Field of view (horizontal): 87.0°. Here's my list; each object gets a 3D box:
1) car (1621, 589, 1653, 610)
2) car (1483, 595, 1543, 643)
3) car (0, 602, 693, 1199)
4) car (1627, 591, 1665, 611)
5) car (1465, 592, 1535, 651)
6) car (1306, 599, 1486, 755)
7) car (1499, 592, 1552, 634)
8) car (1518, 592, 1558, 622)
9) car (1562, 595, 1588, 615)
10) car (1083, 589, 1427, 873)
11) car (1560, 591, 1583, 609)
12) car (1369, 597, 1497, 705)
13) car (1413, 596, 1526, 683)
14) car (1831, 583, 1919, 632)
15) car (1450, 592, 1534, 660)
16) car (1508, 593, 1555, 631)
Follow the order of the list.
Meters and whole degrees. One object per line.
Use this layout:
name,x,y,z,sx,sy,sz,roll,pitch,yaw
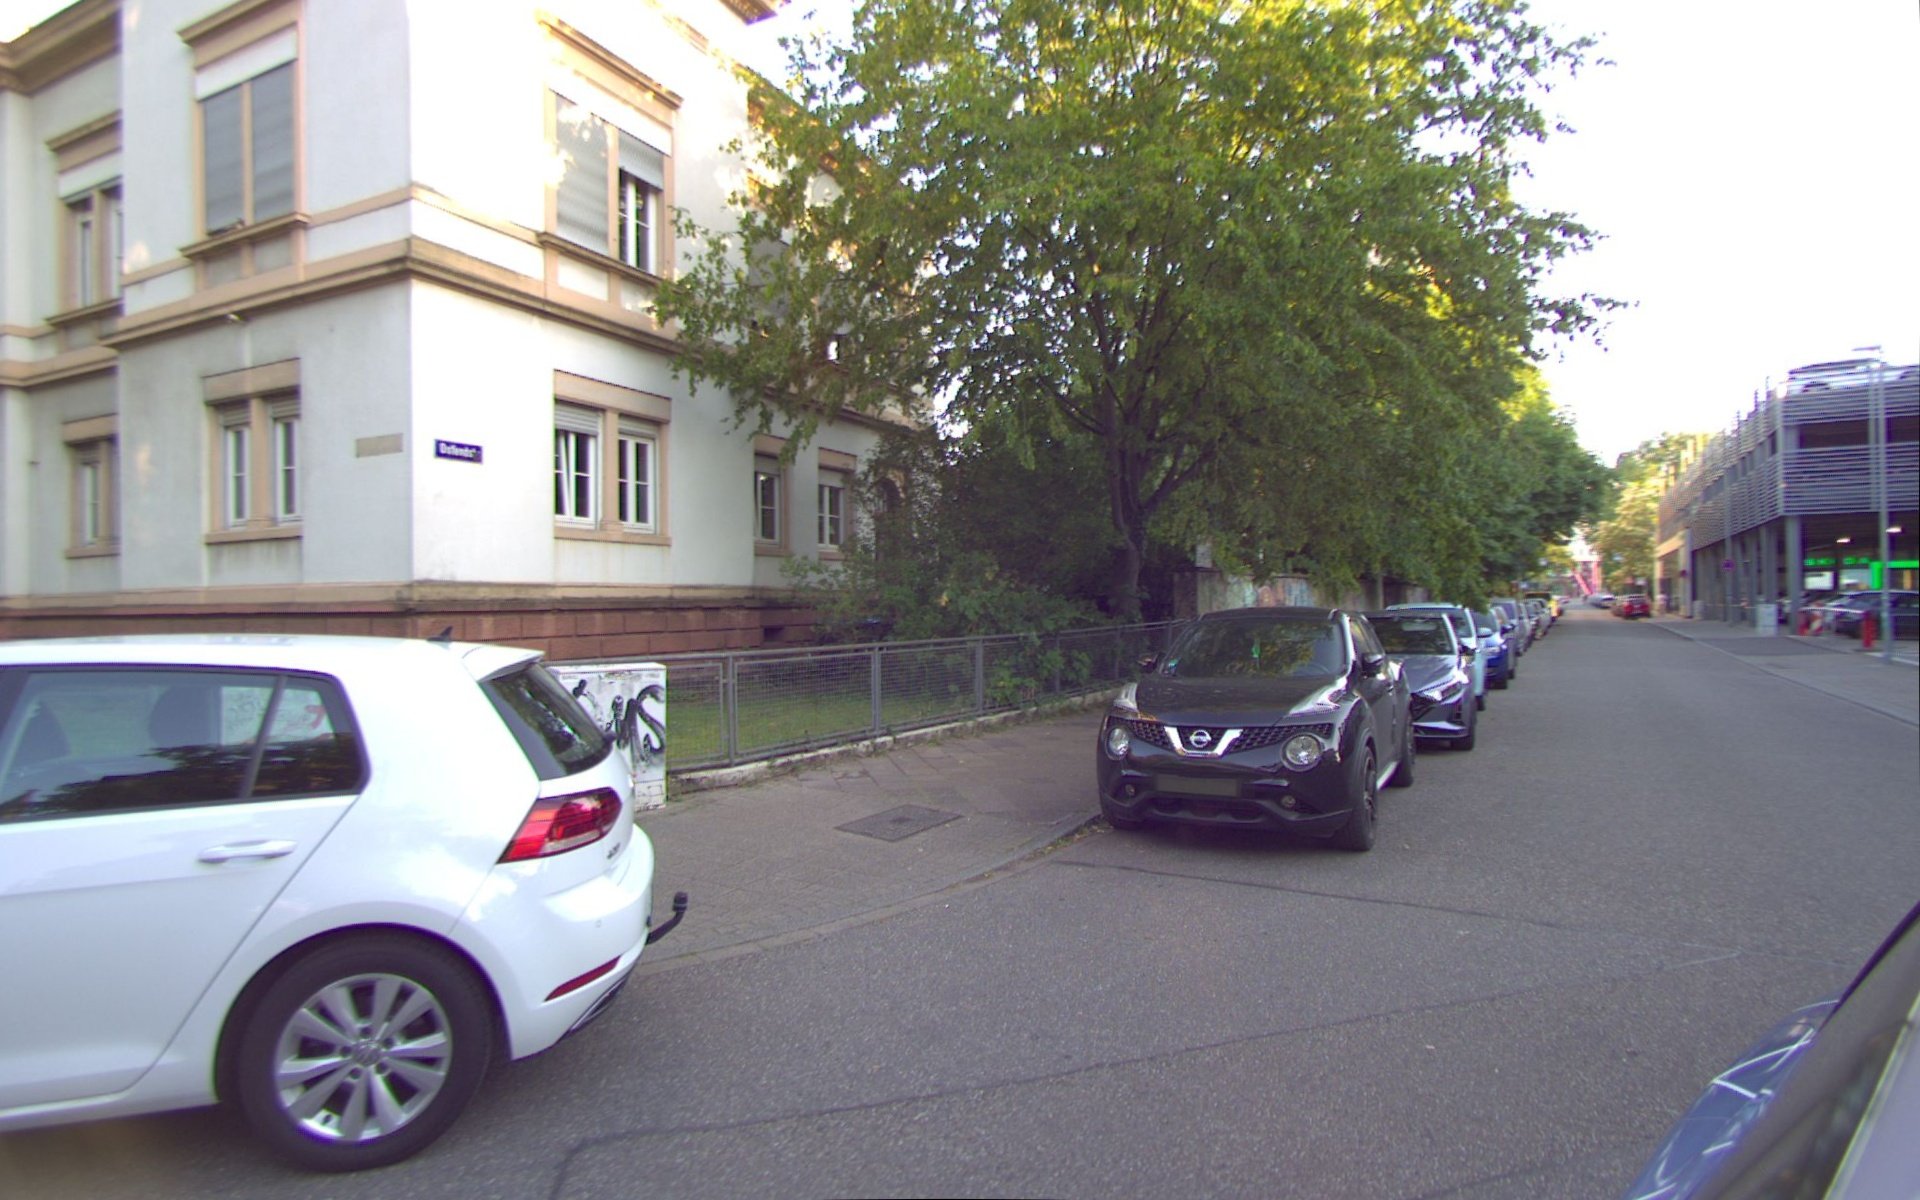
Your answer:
car,49.553,-0.076,74.108,1.618,1.473,3.728,0,1,29
car,18.519,0.592,33.842,1.620,1.473,3.725,1,1,31
car,-2.969,0.773,3.141,4.084,1.520,1.816,0,-1,-16
car,47.546,0.065,70.211,1.860,1.303,3.367,1,1,29
car,15.821,0.566,29.568,1.620,1.587,4.084,0,1,31
car,5.200,0.744,11.816,1.618,1.452,3.747,0,1,28
car,21.555,0.458,38.535,1.620,1.473,3.724,1,1,32
car,29.476,0.316,51.568,1.621,1.473,3.722,1,1,33
car,46.788,0.350,77.019,1.620,1.473,3.725,1,1,31
car,2.460,0.722,7.706,1.619,1.565,3.901,-2,0,30
car,51.702,-0.044,85.649,1.620,1.473,3.725,1,1,31
car,7.463,0.690,15.799,1.618,1.453,3.650,0,0,28
car,9.840,0.663,19.410,1.620,1.452,4.083,1,1,31
car,31.098,0.234,32.955,3.896,1.587,1.615,1,1,32
car,12.745,0.550,24.134,1.619,1.452,4.085,0,1,30
car,24.105,0.465,42.620,1.620,1.473,3.725,1,1,31
